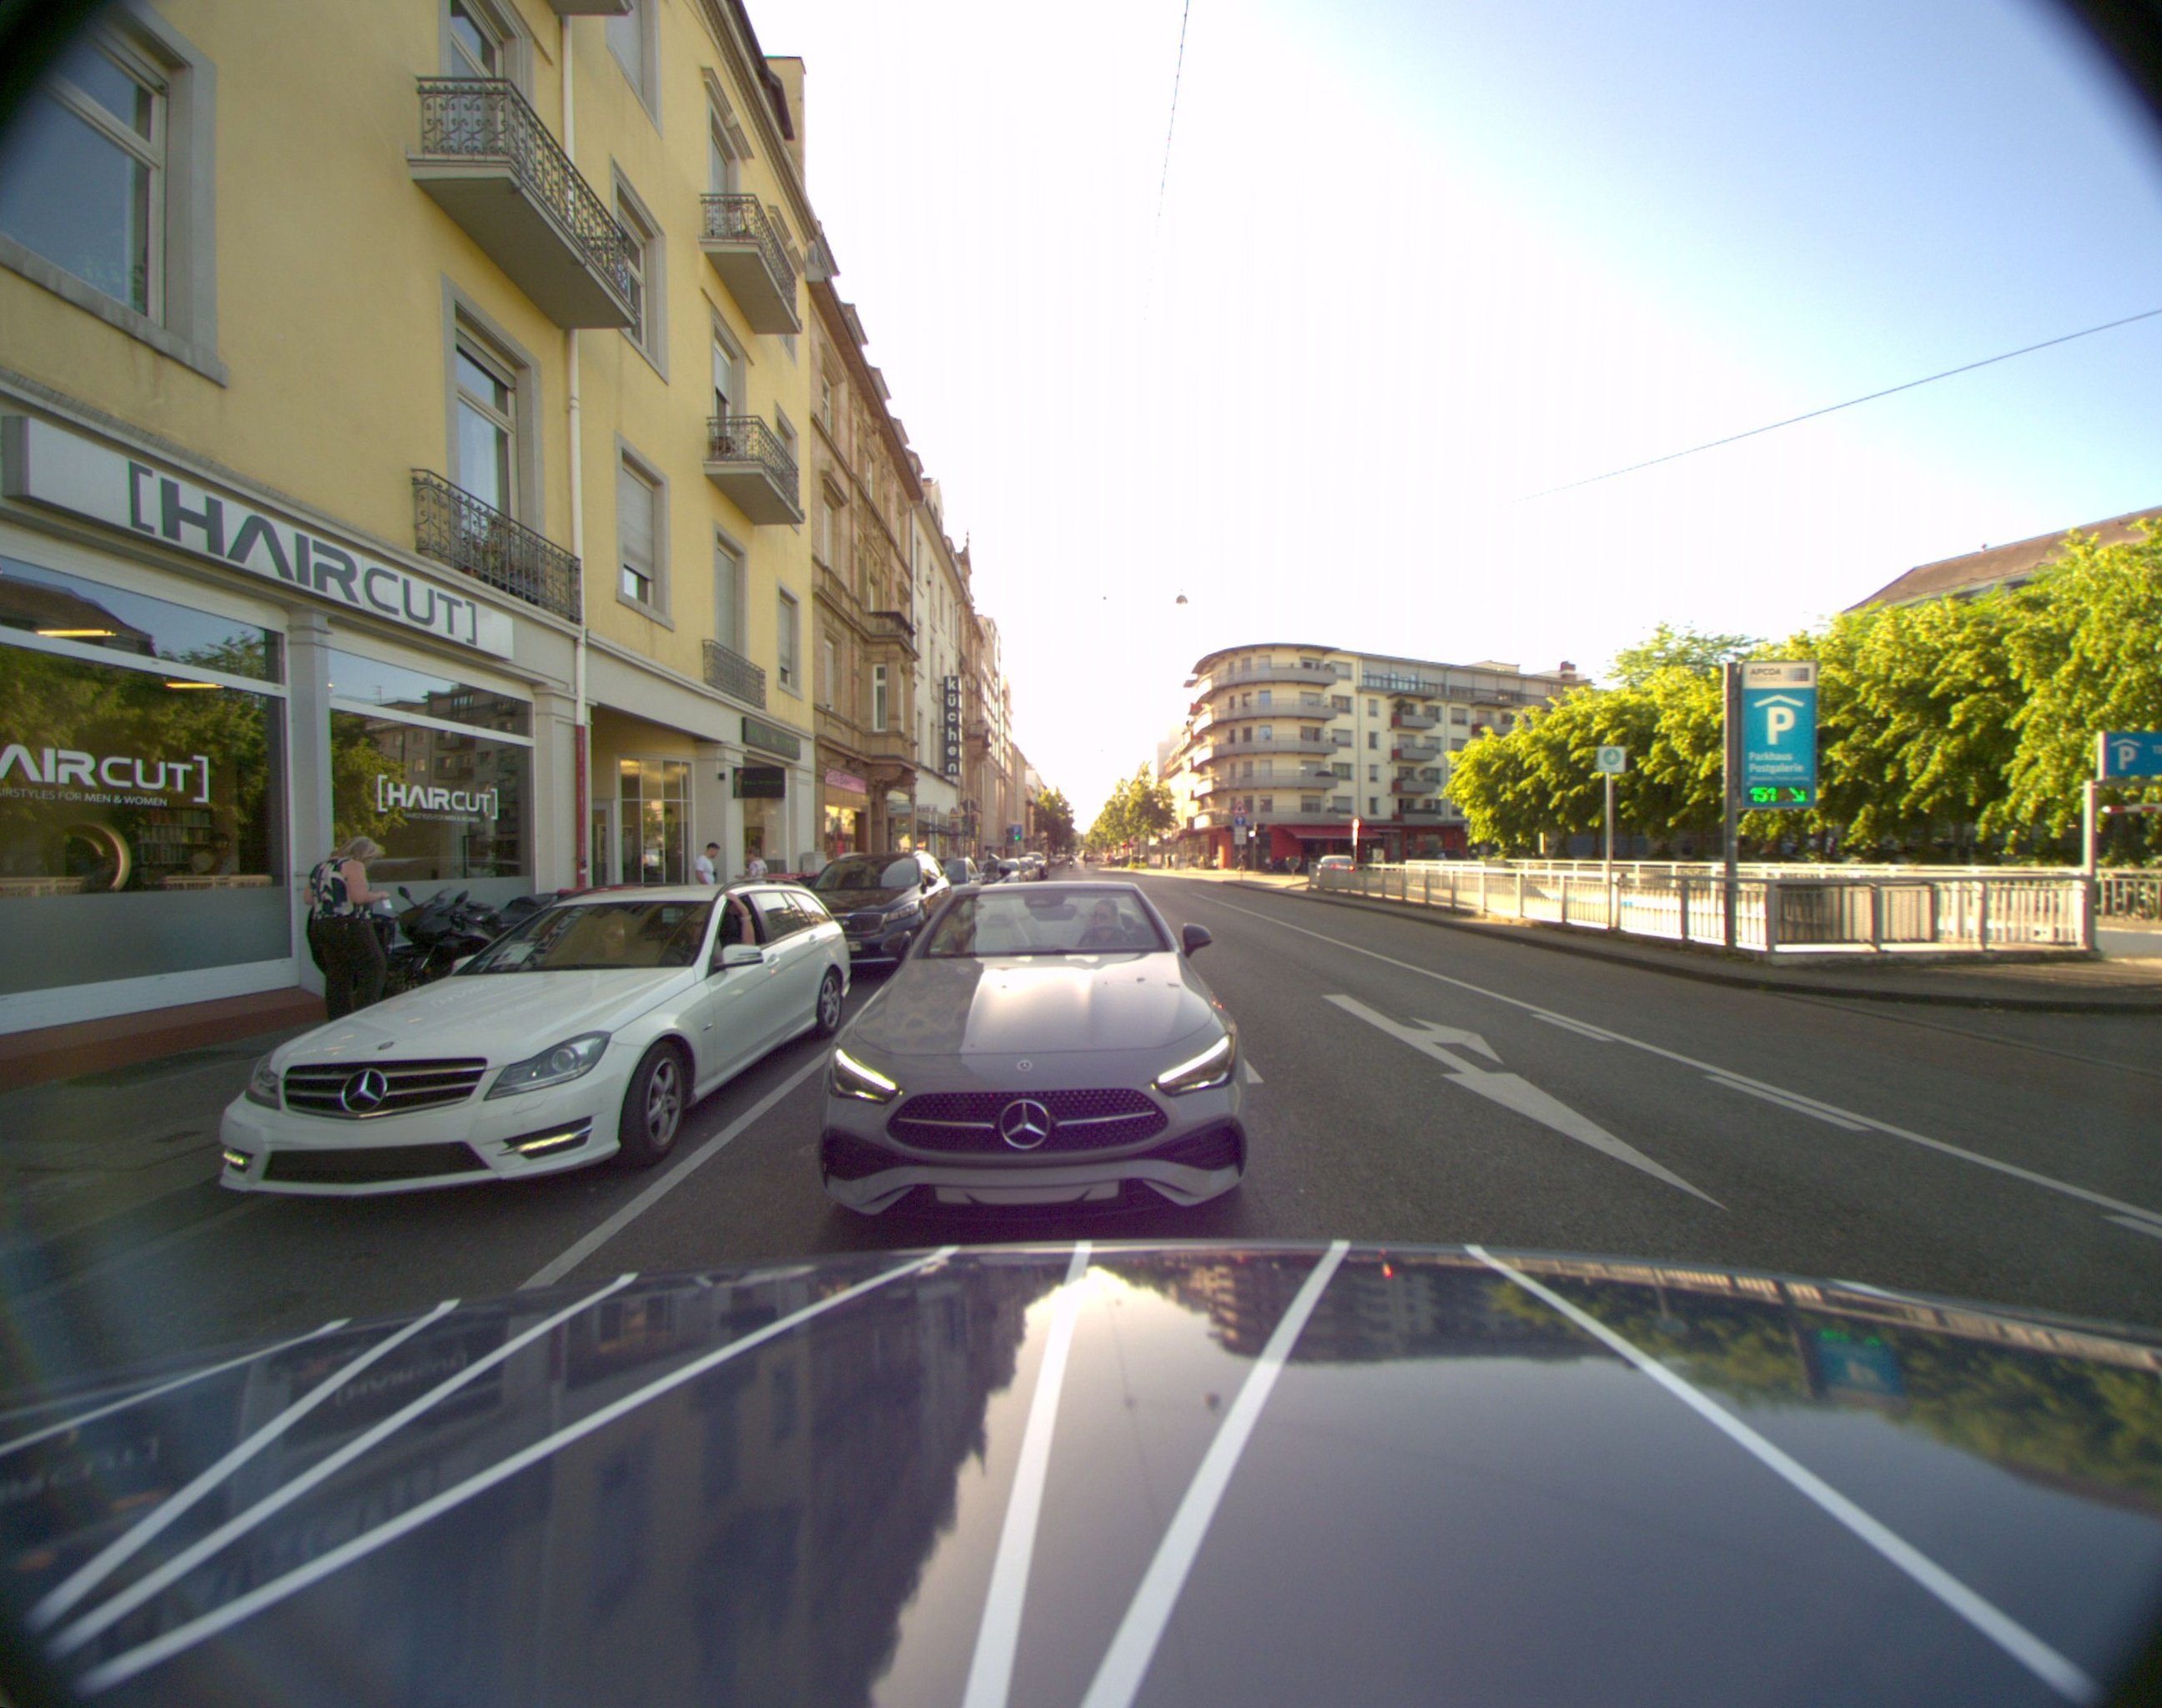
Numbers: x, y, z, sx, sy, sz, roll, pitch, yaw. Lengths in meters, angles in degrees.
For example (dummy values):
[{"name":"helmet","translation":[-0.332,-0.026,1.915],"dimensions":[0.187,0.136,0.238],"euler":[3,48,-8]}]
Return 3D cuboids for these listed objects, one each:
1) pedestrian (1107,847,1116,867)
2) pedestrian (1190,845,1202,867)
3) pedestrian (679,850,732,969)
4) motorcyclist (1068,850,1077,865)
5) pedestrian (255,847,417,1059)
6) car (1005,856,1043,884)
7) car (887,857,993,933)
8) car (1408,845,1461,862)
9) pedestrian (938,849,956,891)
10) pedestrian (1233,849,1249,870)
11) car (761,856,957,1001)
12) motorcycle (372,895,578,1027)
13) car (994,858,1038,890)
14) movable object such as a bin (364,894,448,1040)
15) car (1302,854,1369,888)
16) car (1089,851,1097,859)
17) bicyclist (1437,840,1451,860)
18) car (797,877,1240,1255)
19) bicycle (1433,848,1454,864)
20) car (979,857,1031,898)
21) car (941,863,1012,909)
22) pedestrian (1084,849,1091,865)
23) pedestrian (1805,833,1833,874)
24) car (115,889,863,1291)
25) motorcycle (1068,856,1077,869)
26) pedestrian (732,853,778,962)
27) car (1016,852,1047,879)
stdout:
[{"name":"pedestrian","translation":[3.215,0.302,80.533],"dimensions":[0.860,2.002,0.889],"euler":[-2,1,1]},{"name":"pedestrian","translation":[10.306,0.174,68.138],"dimensions":[0.860,2.002,0.889],"euler":[-2,1,0]},{"name":"pedestrian","translation":[-6.421,0.918,12.996],"dimensions":[0.373,1.971,0.695],"euler":[0,1,23]},{"name":"motorcyclist","translation":[-0.840,0.321,75.324],"dimensions":[0.722,1.438,0.705],"euler":[-2,1,1]},{"name":"pedestrian","translation":[-6.054,0.770,6.207],"dimensions":[0.719,1.644,0.606],"euler":[1,1,1]},{"name":"car","translation":[-3.012,0.845,40.867],"dimensions":[1.725,1.332,3.668],"euler":[-2,1,-1]},{"name":"car","translation":[-3.300,0.907,18.555],"dimensions":[1.802,1.518,4.085],"euler":[-2,1,-1]},{"name":"car","translation":[29.042,-0.058,62.432],"dimensions":[4.004,1.294,1.753],"euler":[-2,1,-23]},{"name":"pedestrian","translation":[-5.870,0.691,33.276],"dimensions":[0.574,1.840,0.665],"euler":[-2,1,1]},{"name":"pedestrian","translation":[12.484,0.440,59.300],"dimensions":[0.863,1.586,0.887],"euler":[-3,1,-38]},{"name":"car","translation":[-3.029,0.902,11.324],"dimensions":[1.803,1.629,4.243],"euler":[-2,1,-3]},{"name":"motorcycle","translation":[-6.206,1.037,7.943],"dimensions":[0.567,1.072,1.954],"euler":[2,1,1]},{"name":"car","translation":[-3.120,0.922,36.922],"dimensions":[1.802,1.332,3.838],"euler":[-2,1,-1]},{"name":"movable object such as a bin","translation":[-5.987,0.987,6.749],"dimensions":[0.391,1.231,0.394],"euler":[1,1,1]},{"name":"car","translation":[11.469,0.736,34.551],"dimensions":[1.823,1.346,4.265],"euler":[1,1,3]},{"name":"car","translation":[2.583,0.201,162.842],"dimensions":[1.615,1.534,3.931],"euler":[-1,0,1]},{"name":"bicyclist","translation":[28.442,-0.328,59.504],"dimensions":[0.799,1.539,0.524],"euler":[-3,1,-21]},{"name":"car","translation":[-0.233,0.953,5.173],"dimensions":[1.802,1.351,3.999],"euler":[-2,1,1]},{"name":"bicycle","translation":[28.415,0.158,59.503],"dimensions":[1.595,1.163,0.526],"euler":[-3,1,-21]},{"name":"car","translation":[-3.002,0.886,30.754],"dimensions":[1.660,1.423,4.085],"euler":[-2,1,-1]},{"name":"car","translation":[-3.395,1.015,25.459],"dimensions":[1.802,1.259,4.085],"euler":[-2,1,-1]},{"name":"pedestrian","translation":[0.795,0.378,95.051],"dimensions":[0.792,2.002,0.889],"euler":[-2,1,1]},{"name":"pedestrian","translation":[31.359,-0.037,32.304],"dimensions":[0.647,1.711,0.607],"euler":[-3,1,-19]},{"name":"car","translation":[-3.063,1.079,5.318],"dimensions":[1.704,1.351,4.378],"euler":[-2,1,1]},{"name":"motorcycle","translation":[-0.825,0.812,75.347],"dimensions":[0.720,1.177,1.906],"euler":[-2,1,1]},{"name":"pedestrian","translation":[-5.699,0.908,13.273],"dimensions":[0.576,1.840,0.663],"euler":[-3,1,-30]},{"name":"car","translation":[-3.063,0.694,47.691],"dimensions":[1.725,1.506,4.004],"euler":[-2,1,-1]}]
